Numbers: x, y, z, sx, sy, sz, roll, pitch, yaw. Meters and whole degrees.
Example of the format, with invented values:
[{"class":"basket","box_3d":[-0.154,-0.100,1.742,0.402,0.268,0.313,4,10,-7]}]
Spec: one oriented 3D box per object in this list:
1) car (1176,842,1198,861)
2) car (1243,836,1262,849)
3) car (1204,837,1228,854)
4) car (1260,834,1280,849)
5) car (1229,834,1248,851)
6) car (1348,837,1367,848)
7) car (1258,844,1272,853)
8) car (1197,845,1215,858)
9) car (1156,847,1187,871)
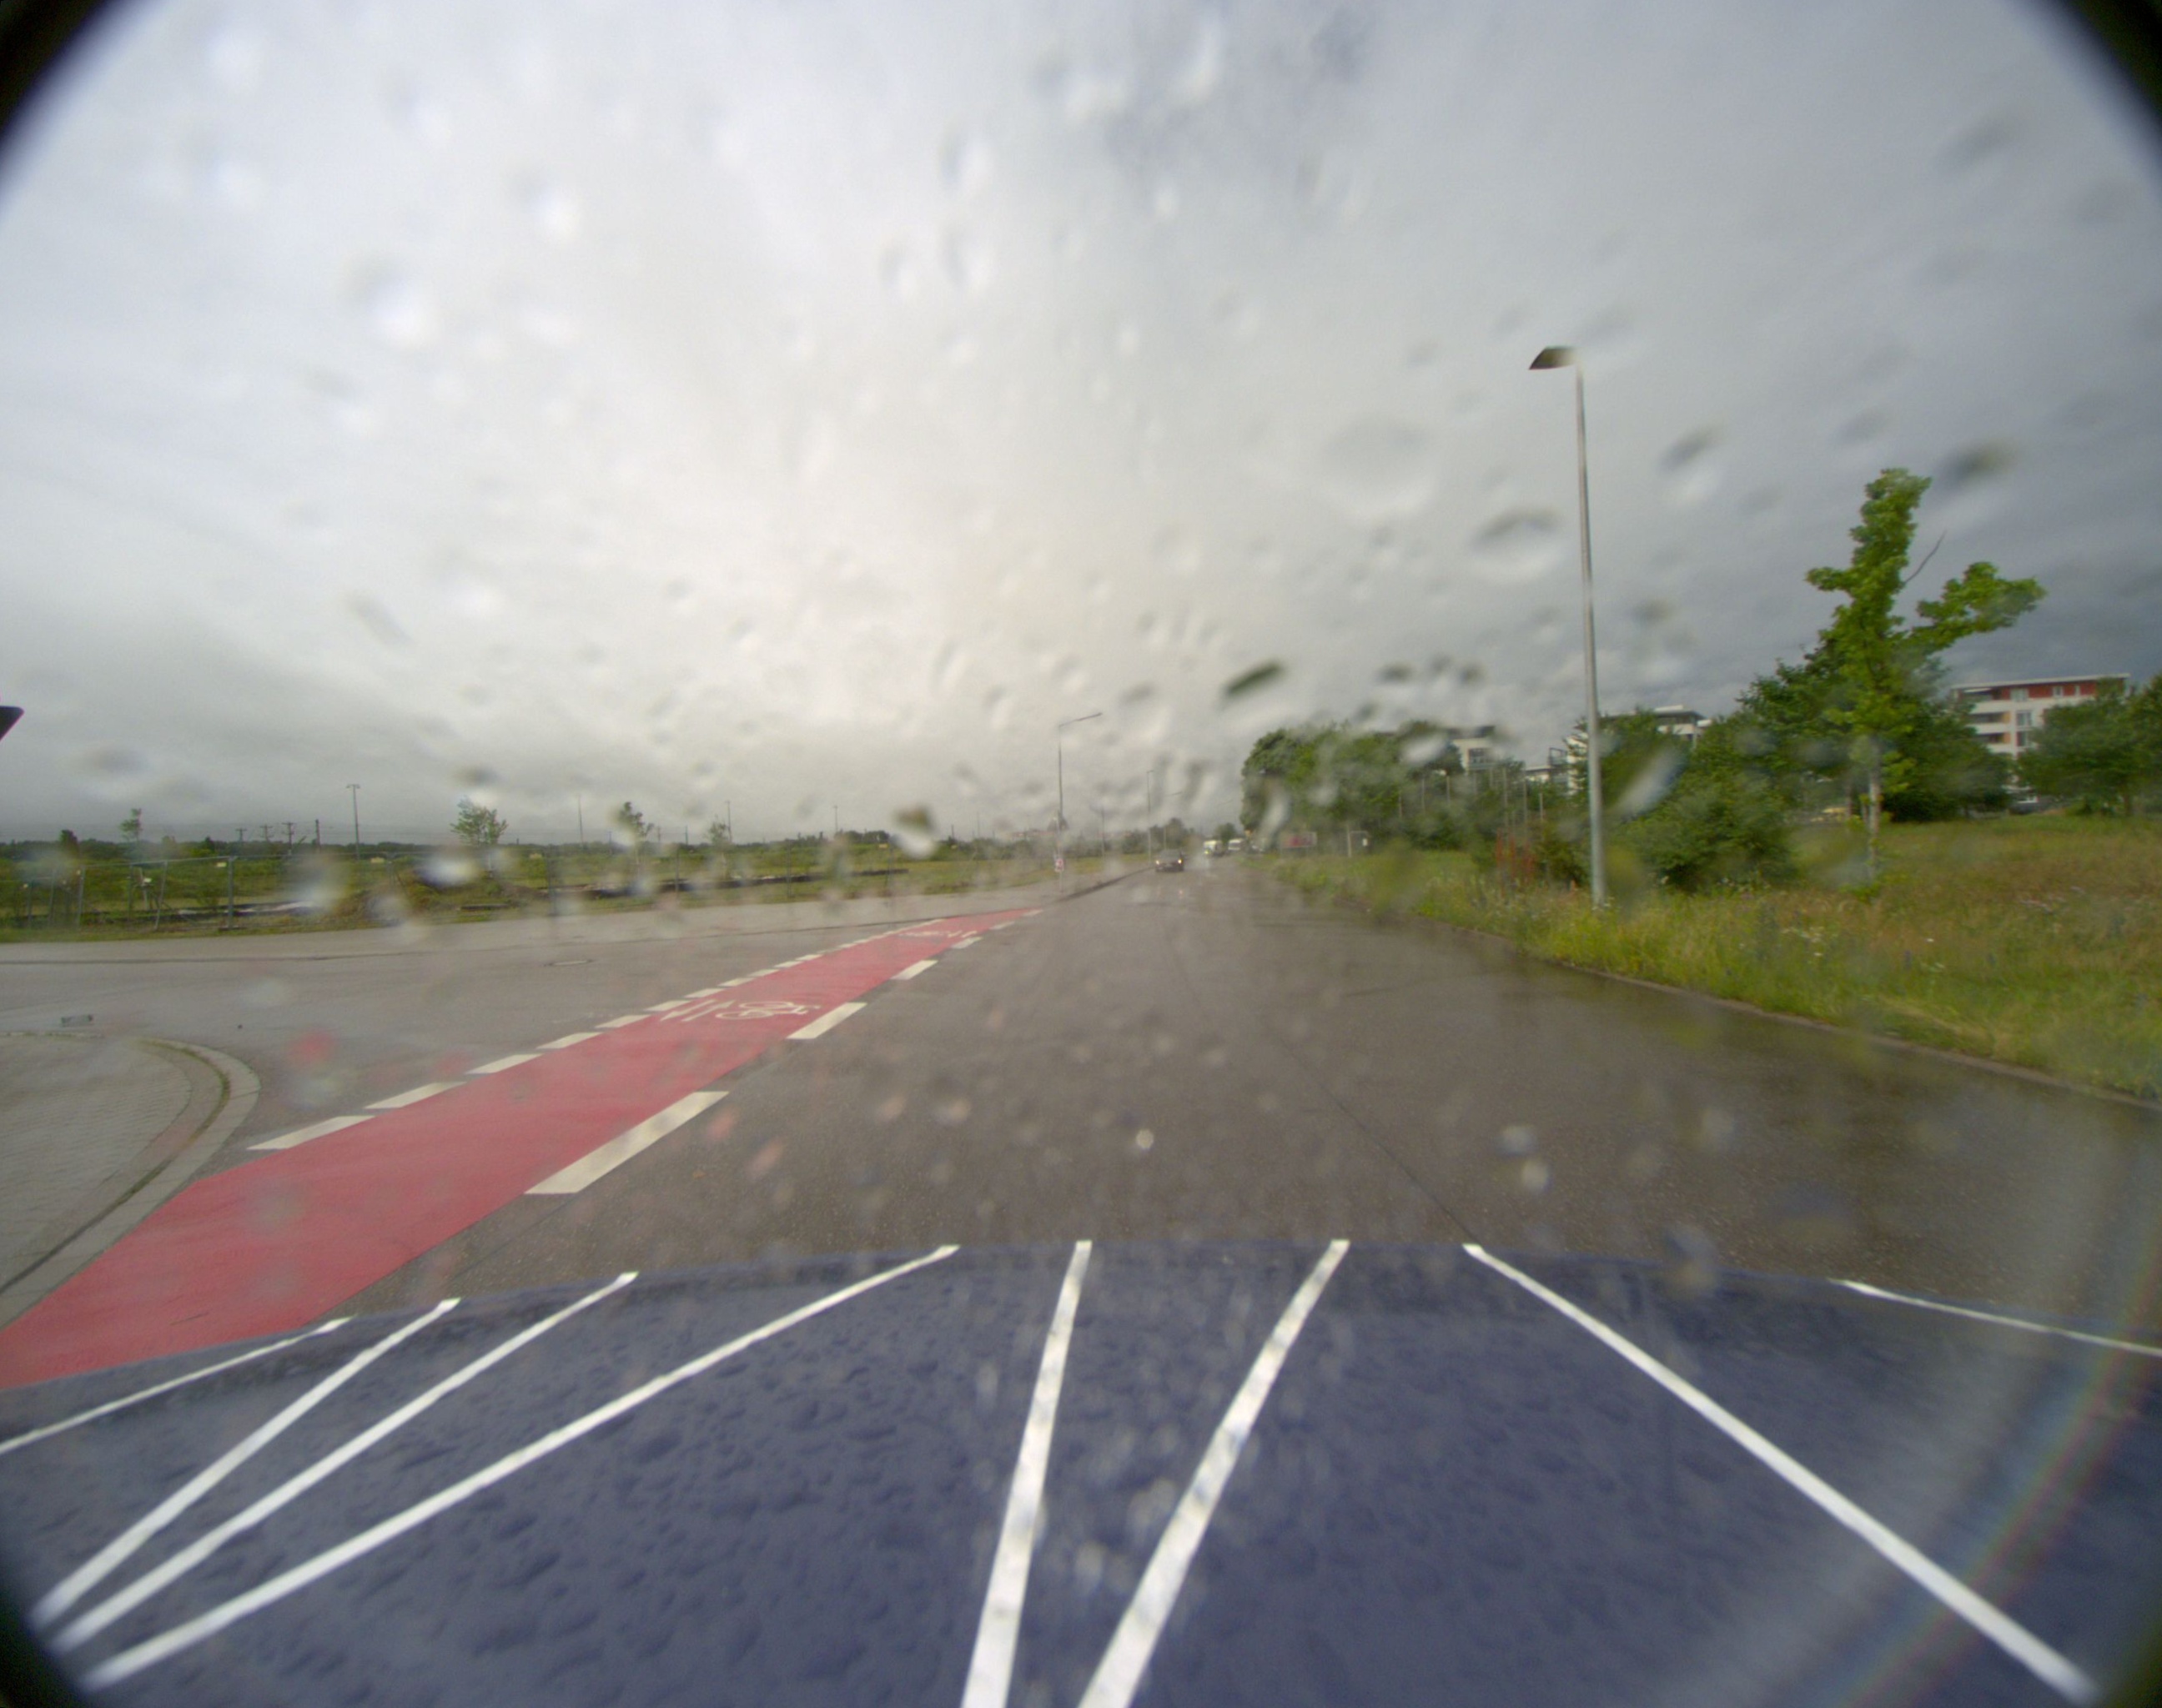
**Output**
[{"class":"car","box_3d":[10.629,-0.256,76.232,2.009,1.695,4.331,-4,0,7]},{"class":"car","box_3d":[32.911,-2.239,145.347,2.070,2.514,6.668,0,1,26]},{"class":"car","box_3d":[20.749,-1.394,116.663,2.093,2.459,5.956,-1,1,25]},{"class":"car","box_3d":[38.886,-2.609,156.172,2.472,2.939,6.898,-1,1,27]},{"class":"car","box_3d":[27.324,-1.956,131.776,2.146,2.867,5.283,1,2,23]},{"class":"car","box_3d":[40.065,-1.673,110.100,1.686,1.388,4.130,-4,1,7]},{"class":"car","box_3d":[33.516,-1.070,138.126,1.839,1.510,4.363,-2,1,22]},{"class":"car","box_3d":[16.333,-0.341,99.133,1.839,1.510,4.362,-2,0,16]},{"class":"car","box_3d":[6.121,0.289,51.103,1.872,1.510,4.360,1,1,9]}]
